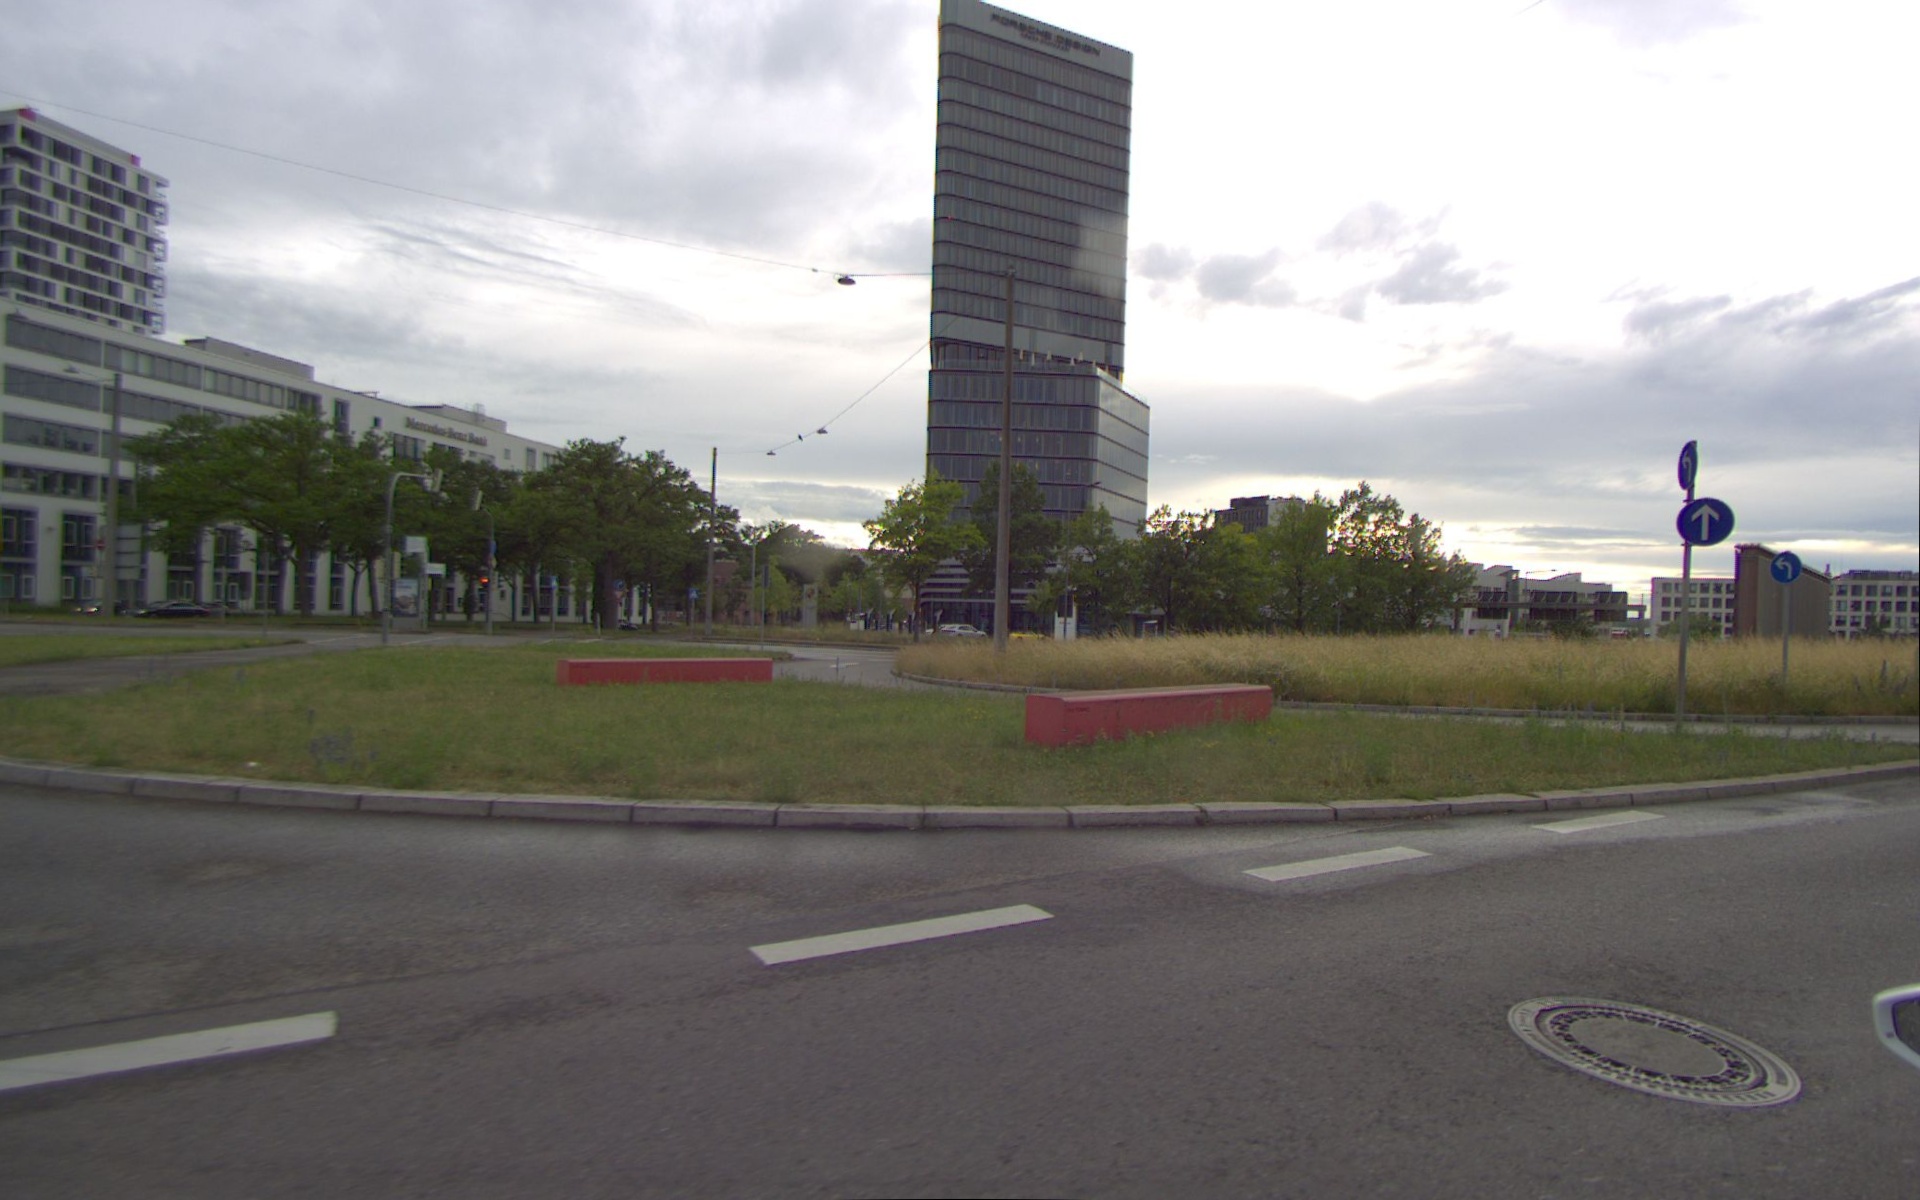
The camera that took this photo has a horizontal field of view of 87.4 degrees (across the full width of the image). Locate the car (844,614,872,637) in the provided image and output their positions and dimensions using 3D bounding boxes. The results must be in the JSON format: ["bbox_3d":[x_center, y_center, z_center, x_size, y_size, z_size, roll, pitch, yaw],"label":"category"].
[{"bbox_3d":[-9.400,2.327,93.100,1.960,1.873,4.000,3,1,2],"label":"car"}]

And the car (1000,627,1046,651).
[{"bbox_3d":[6.110,3.783,97.029,3.932,2.040,1.994,3,1,-14],"label":"car"}]

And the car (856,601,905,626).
[{"bbox_3d":[-7.106,1.212,89.969,3.973,2.040,1.974,2,2,-44],"label":"car"}]

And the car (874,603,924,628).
[{"bbox_3d":[-5.350,1.353,88.039,3.973,2.040,1.974,2,2,-44],"label":"car"}]

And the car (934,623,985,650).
[{"bbox_3d":[0.008,3.066,84.251,3.974,2.040,1.973,2,2,-45],"label":"car"}]

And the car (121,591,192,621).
[{"bbox_3d":[-51.068,0.375,63.896,1.865,1.698,3.707,3,1,-9],"label":"car"}]

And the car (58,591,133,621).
[{"bbox_3d":[-54.674,0.352,63.596,1.865,1.698,3.707,3,1,-9],"label":"car"}]
